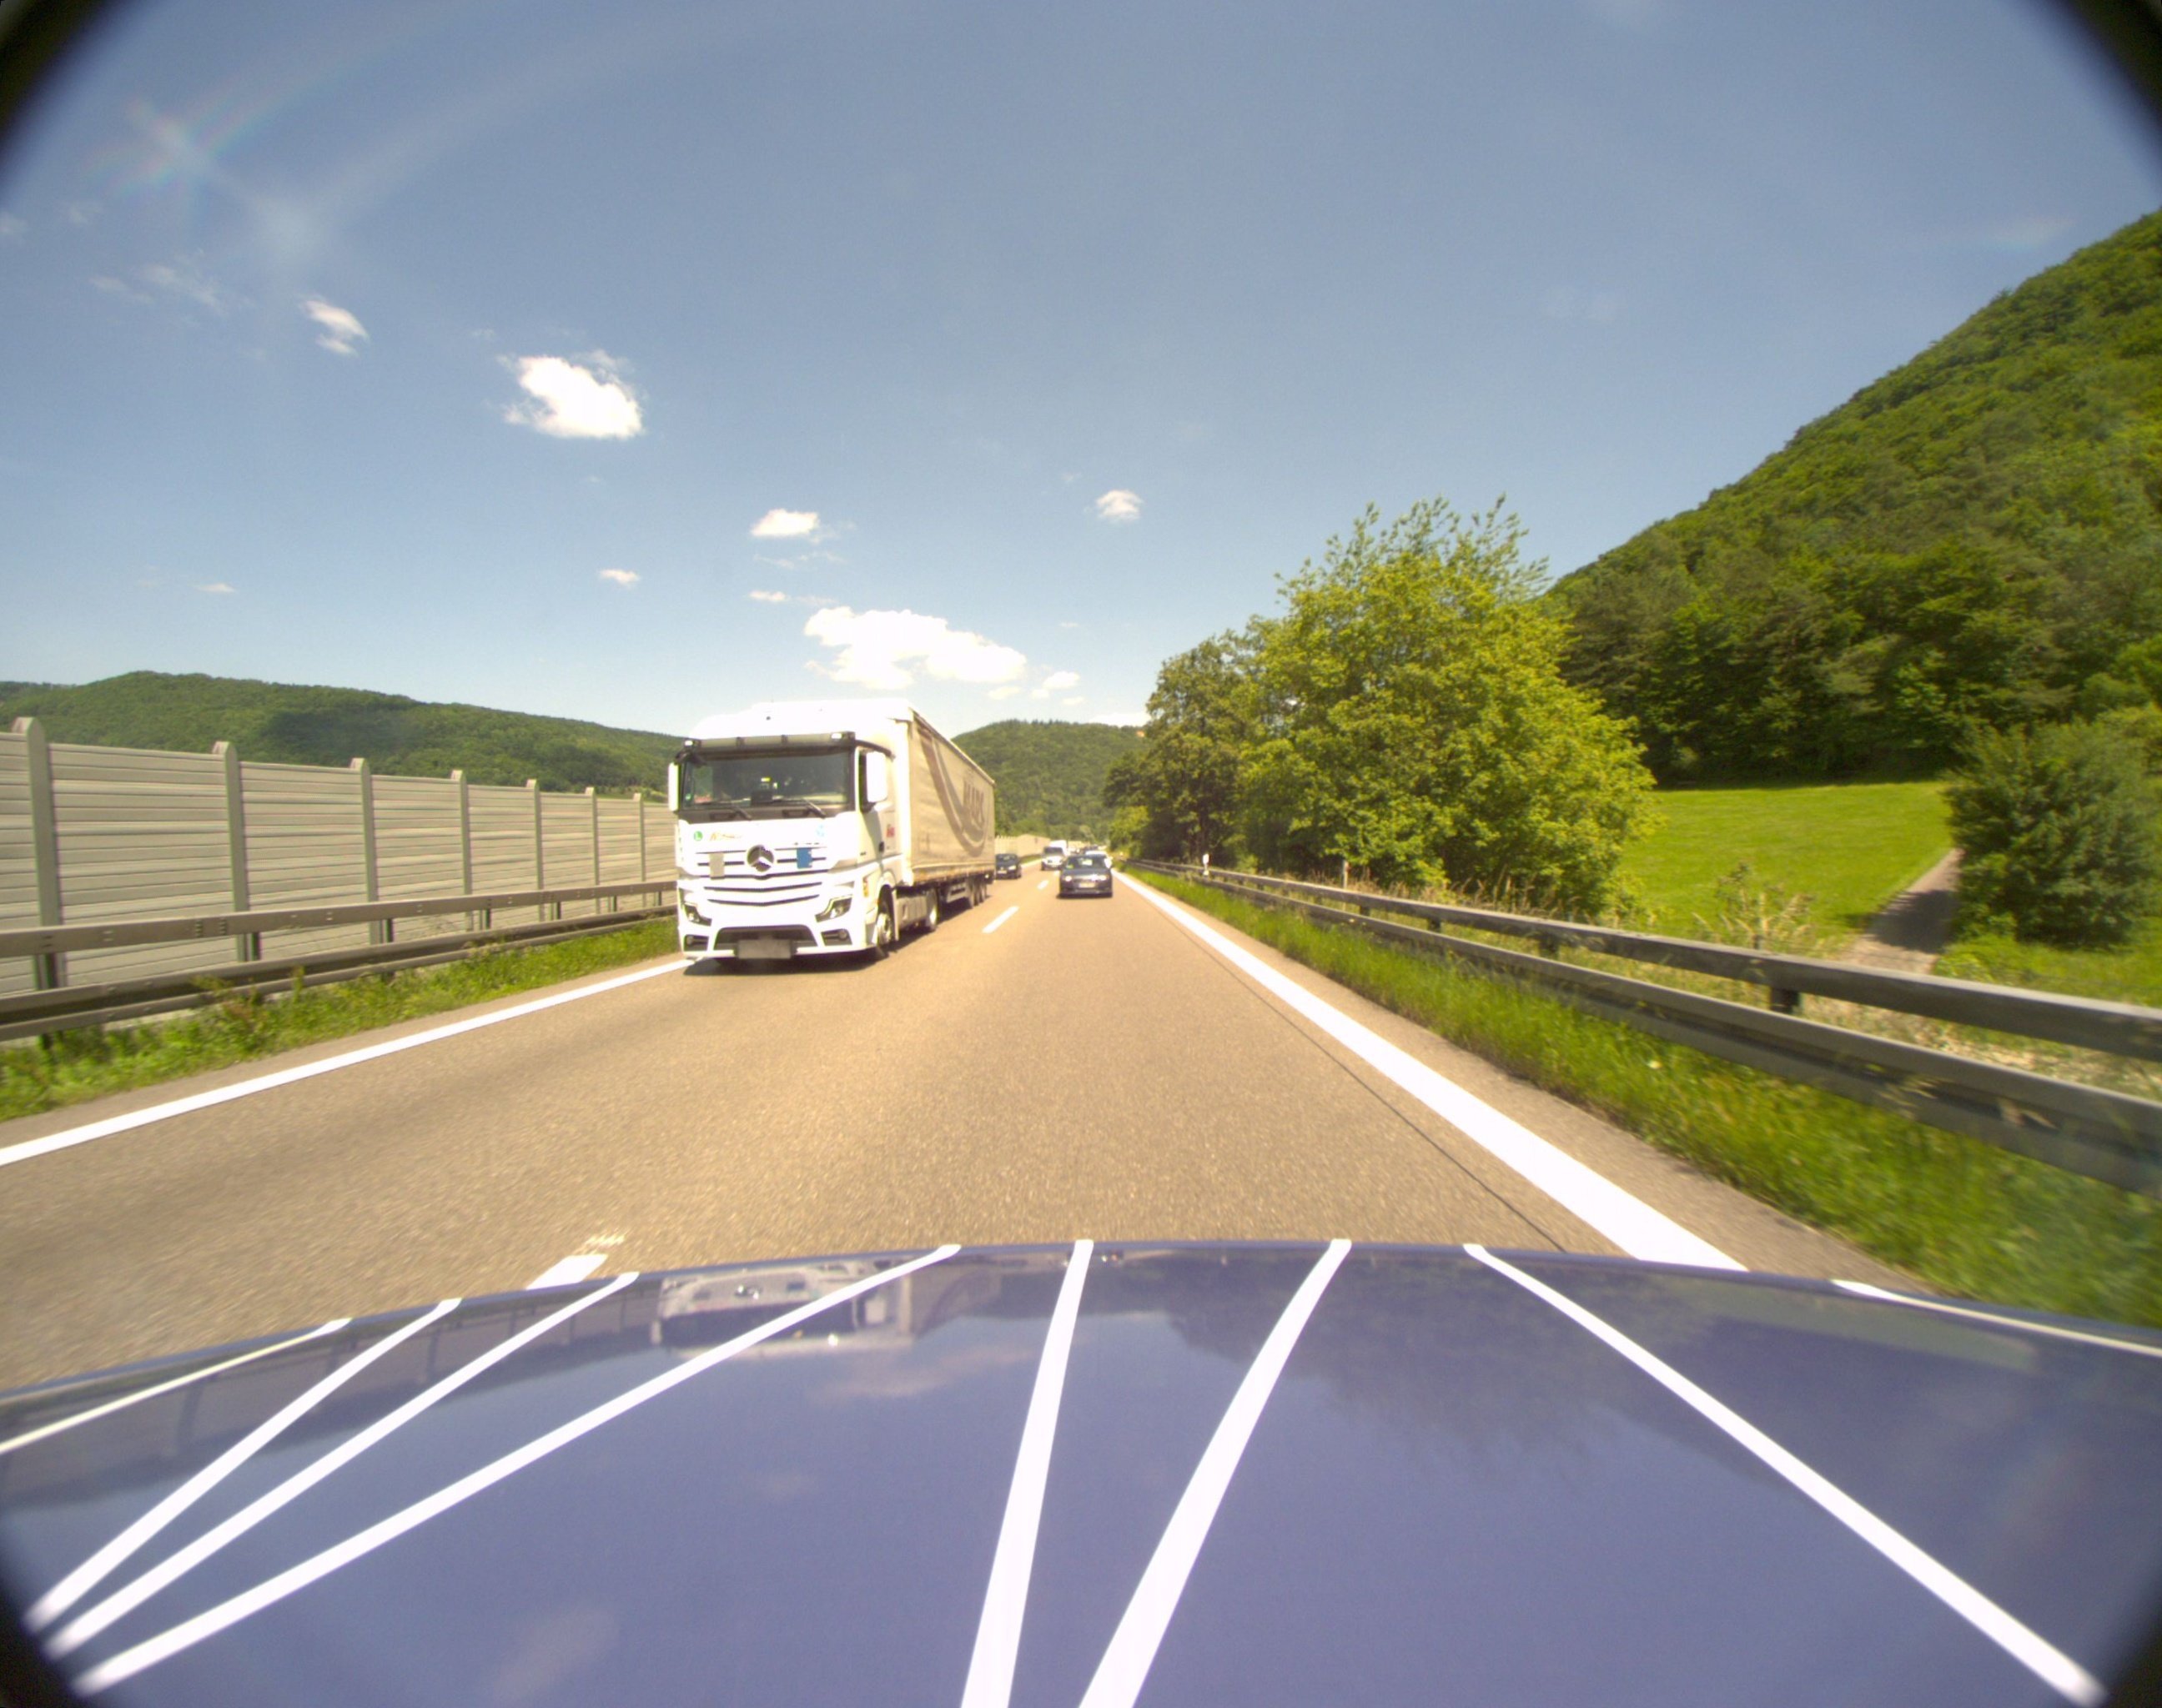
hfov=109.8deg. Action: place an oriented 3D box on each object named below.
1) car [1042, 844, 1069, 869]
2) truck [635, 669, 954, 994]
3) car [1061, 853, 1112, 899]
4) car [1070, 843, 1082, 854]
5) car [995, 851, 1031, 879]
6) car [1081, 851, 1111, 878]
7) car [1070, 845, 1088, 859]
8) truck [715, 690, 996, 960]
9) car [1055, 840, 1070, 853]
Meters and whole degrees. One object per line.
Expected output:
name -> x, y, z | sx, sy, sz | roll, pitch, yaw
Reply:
car -> -1.980, 0.207, 59.906 | 2.044, 1.855, 4.000 | 0, 0, -1
truck -> -4.123, -0.420, 12.893 | 2.764, 4.017, 6.819 | 1, 3, 0
car -> 0.187, 0.712, 26.500 | 1.662, 1.436, 3.474 | 1, 1, 0
car -> -0.875, -1.035, 142.808 | 1.998, 2.002, 3.999 | 5, 1, 0
car -> -3.825, 0.587, 42.965 | 1.662, 1.405, 3.474 | 1, 1, 0
car -> 0.878, 0.603, 46.909 | 1.715, 1.541, 3.999 | 1, 1, 0
car -> -0.262, -0.302, 94.250 | 1.801, 1.508, 3.718 | 5, 1, -6
truck -> -4.198, -0.502, 17.891 | 2.861, 4.124, 12.045 | -2, 1, 0
car -> -2.853, -1.108, 118.498 | 1.998, 1.892, 4.000 | 2, 0, 1
